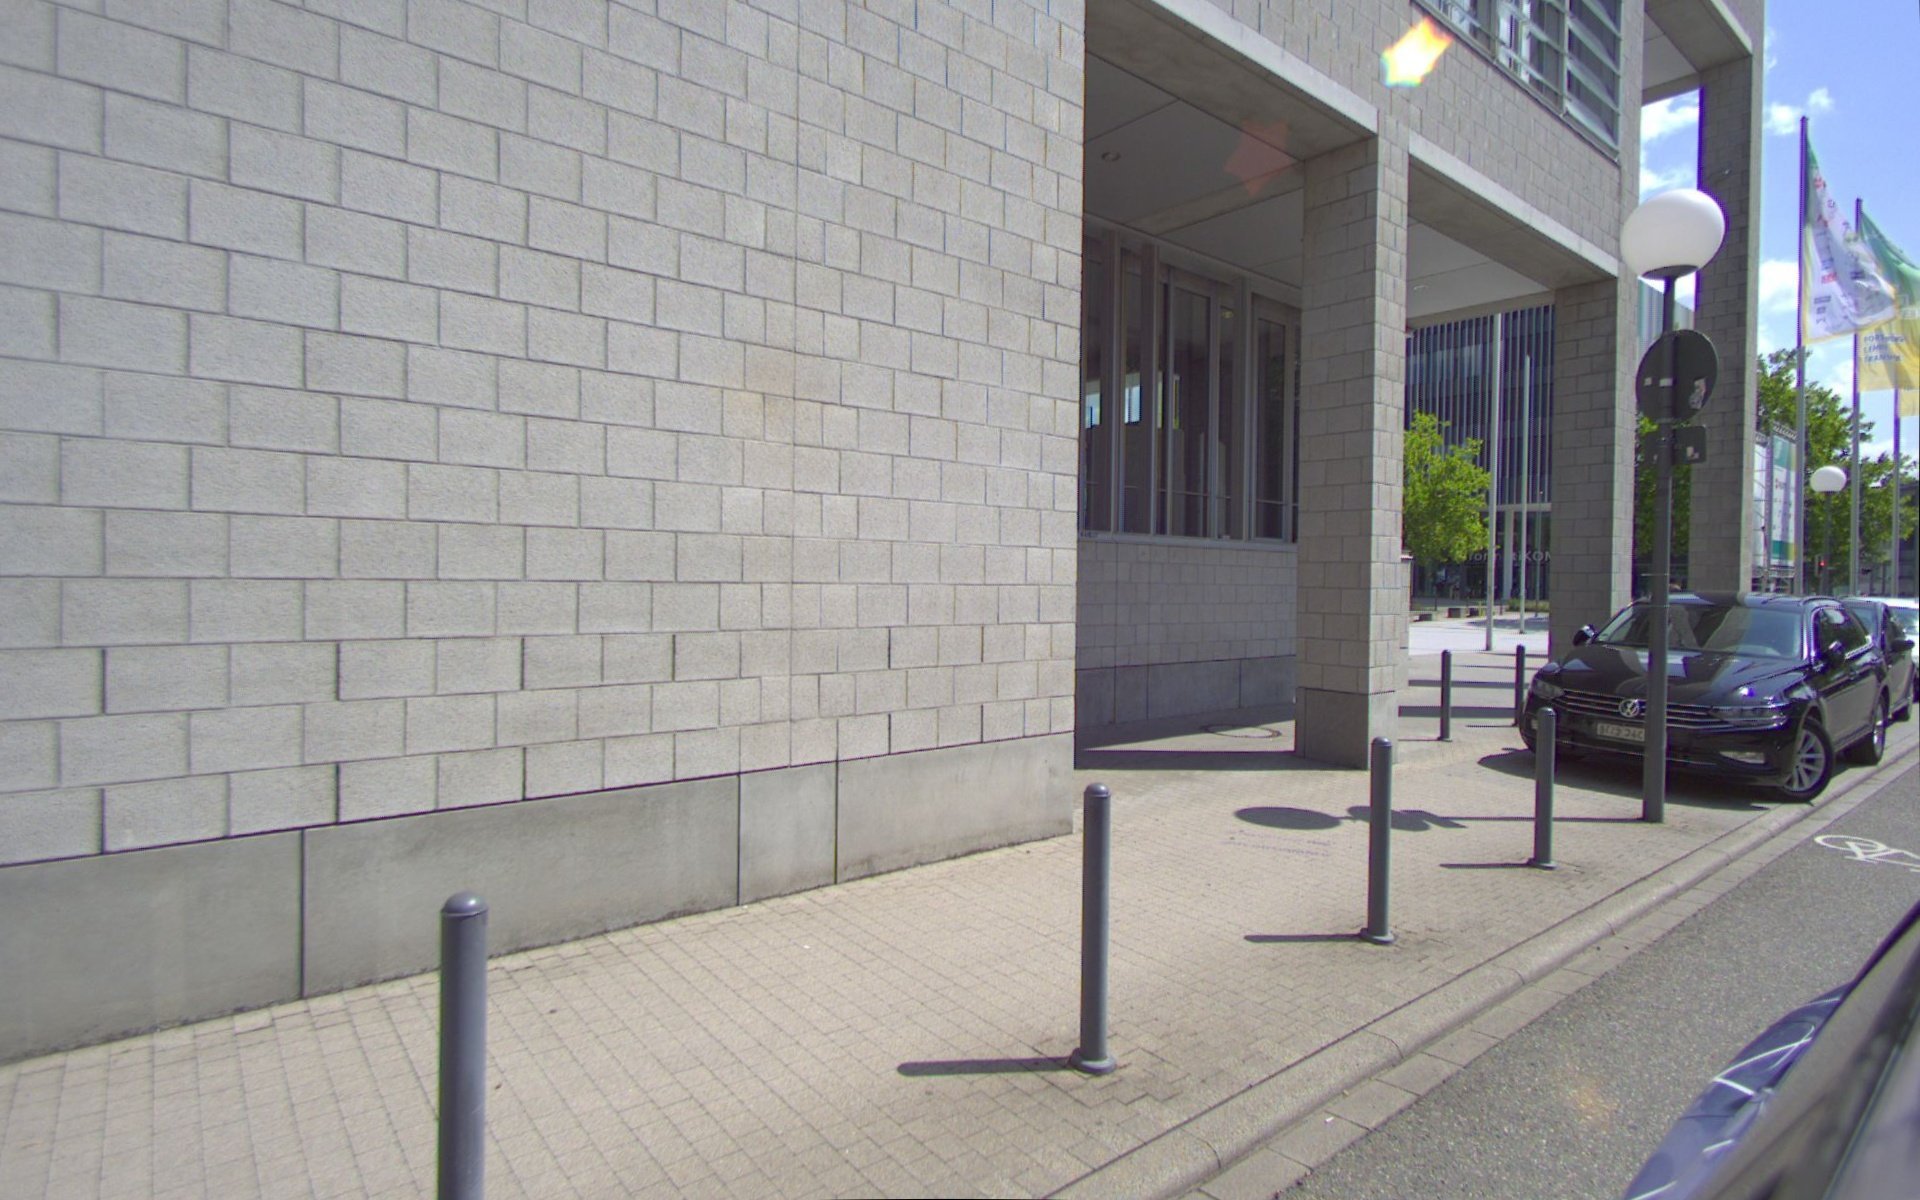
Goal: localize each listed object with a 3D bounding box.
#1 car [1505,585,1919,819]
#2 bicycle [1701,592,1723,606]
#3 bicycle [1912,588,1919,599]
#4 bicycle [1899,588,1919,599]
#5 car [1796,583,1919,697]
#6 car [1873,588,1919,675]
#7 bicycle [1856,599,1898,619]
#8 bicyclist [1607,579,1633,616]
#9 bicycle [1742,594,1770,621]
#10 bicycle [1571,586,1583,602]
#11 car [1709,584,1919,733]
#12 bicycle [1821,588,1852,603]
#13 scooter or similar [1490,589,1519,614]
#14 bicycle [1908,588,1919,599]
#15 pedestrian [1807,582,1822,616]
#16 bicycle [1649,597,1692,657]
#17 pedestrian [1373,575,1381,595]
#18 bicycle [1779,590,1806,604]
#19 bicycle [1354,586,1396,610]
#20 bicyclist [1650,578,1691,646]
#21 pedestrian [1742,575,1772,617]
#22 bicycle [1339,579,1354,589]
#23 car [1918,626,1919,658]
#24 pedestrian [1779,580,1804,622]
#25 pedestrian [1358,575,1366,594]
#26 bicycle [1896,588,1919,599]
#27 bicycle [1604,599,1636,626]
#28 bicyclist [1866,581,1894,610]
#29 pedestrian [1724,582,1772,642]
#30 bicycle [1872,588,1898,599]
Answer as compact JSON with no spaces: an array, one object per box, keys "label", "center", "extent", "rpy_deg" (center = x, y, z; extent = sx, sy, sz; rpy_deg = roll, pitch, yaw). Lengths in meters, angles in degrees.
[{"label":"car","center":[6.595,0.632,8.671],"extent":[4.440,1.483,1.870],"rpy_deg":[0,1,-40]},{"label":"bicycle","center":[57.631,-0.113,77.524],"extent":[0.520,0.967,1.770],"rpy_deg":[-3,2,7]},{"label":"bicycle","center":[85.672,-0.538,89.668],"extent":[1.753,0.967,0.525],"rpy_deg":[1,3,23]},{"label":"bicycle","center":[86.571,-0.598,91.900],"extent":[1.753,0.967,0.525],"rpy_deg":[1,3,23]},{"label":"car","center":[14.878,0.548,16.165],"extent":[4.489,1.548,1.722],"rpy_deg":[0,3,-43]},{"label":"car","center":[18.929,0.573,19.256],"extent":[3.928,1.548,1.723],"rpy_deg":[0,2,-39]},{"label":"bicycle","center":[53.114,0.527,58.639],"extent":[1.652,1.138,0.690],"rpy_deg":[1,1,23]},{"label":"bicyclist","center":[28.679,-0.117,43.953],"extent":[0.863,1.589,0.682],"rpy_deg":[1,0,-39]},{"label":"bicycle","center":[35.897,0.317,45.611],"extent":[0.815,1.085,1.862],"rpy_deg":[4,4,43]},{"label":"bicycle","center":[48.577,-0.480,79.704],"extent":[1.520,1.201,0.373],"rpy_deg":[-3,4,-41]},{"label":"car","center":[10.608,0.577,12.291],"extent":[3.936,1.515,1.617],"rpy_deg":[-1,1,-41]},{"label":"bicycle","center":[59.090,-0.292,68.246],"extent":[0.519,0.967,1.774],"rpy_deg":[0,2,-1]},{"label":"scooter or similar","center":[26.457,0.079,49.167],"extent":[0.347,1.179,1.192],"rpy_deg":[-2,3,-38]},{"label":"bicycle","center":[86.060,-0.547,90.467],"extent":[1.753,0.967,0.525],"rpy_deg":[1,3,23]},{"label":"pedestrian","center":[48.359,-0.064,57.280],"extent":[0.573,1.864,0.409],"rpy_deg":[1,2,44]},{"label":"bicycle","center":[14.280,0.524,20.363],"extent":[0.603,1.152,1.569],"rpy_deg":[2,0,33]},{"label":"pedestrian","center":[39.148,-1.419,94.952],"extent":[0.553,1.864,0.553],"rpy_deg":[1,2,43]},{"label":"bicycle","center":[62.565,-0.243,76.101],"extent":[0.519,0.967,1.774],"rpy_deg":[0,2,-1]},{"label":"bicycle","center":[21.973,-0.136,53.650],"extent":[0.784,1.197,2.034],"rpy_deg":[-1,2,-28]},{"label":"bicyclist","center":[14.299,0.231,20.376],"extent":[0.603,1.337,0.734],"rpy_deg":[2,0,33]},{"label":"pedestrian","center":[35.924,-0.203,45.609],"extent":[0.854,1.842,1.157],"rpy_deg":[4,3,44]},{"label":"bicycle","center":[36.449,-1.500,95.478],"extent":[1.514,0.967,0.374],"rpy_deg":[-2,2,-24]},{"label":"car","center":[23.366,0.572,23.077],"extent":[4.072,1.515,1.619],"rpy_deg":[0,3,-39]},{"label":"pedestrian","center":[37.061,0.040,45.127],"extent":[0.598,1.823,0.597],"rpy_deg":[2,-1,-16]},{"label":"pedestrian","center":[38.308,-1.480,96.483],"extent":[0.553,1.864,0.553],"rpy_deg":[1,2,43]},{"label":"bicycle","center":[86.802,-0.591,92.513],"extent":[1.753,0.967,0.525],"rpy_deg":[1,3,23]},{"label":"bicycle","center":[28.699,0.546,43.989],"extent":[1.662,1.152,0.682],"rpy_deg":[1,0,-40]},{"label":"bicyclist","center":[53.221,-0.263,58.565],"extent":[0.988,1.635,0.652],"rpy_deg":[1,1,23]},{"label":"pedestrian","center":[23.601,0.337,30.301],"extent":[0.984,1.761,0.920],"rpy_deg":[0,1,-39]},{"label":"bicycle","center":[87.838,-0.634,96.110],"extent":[1.753,0.967,0.525],"rpy_deg":[1,3,23]}]
